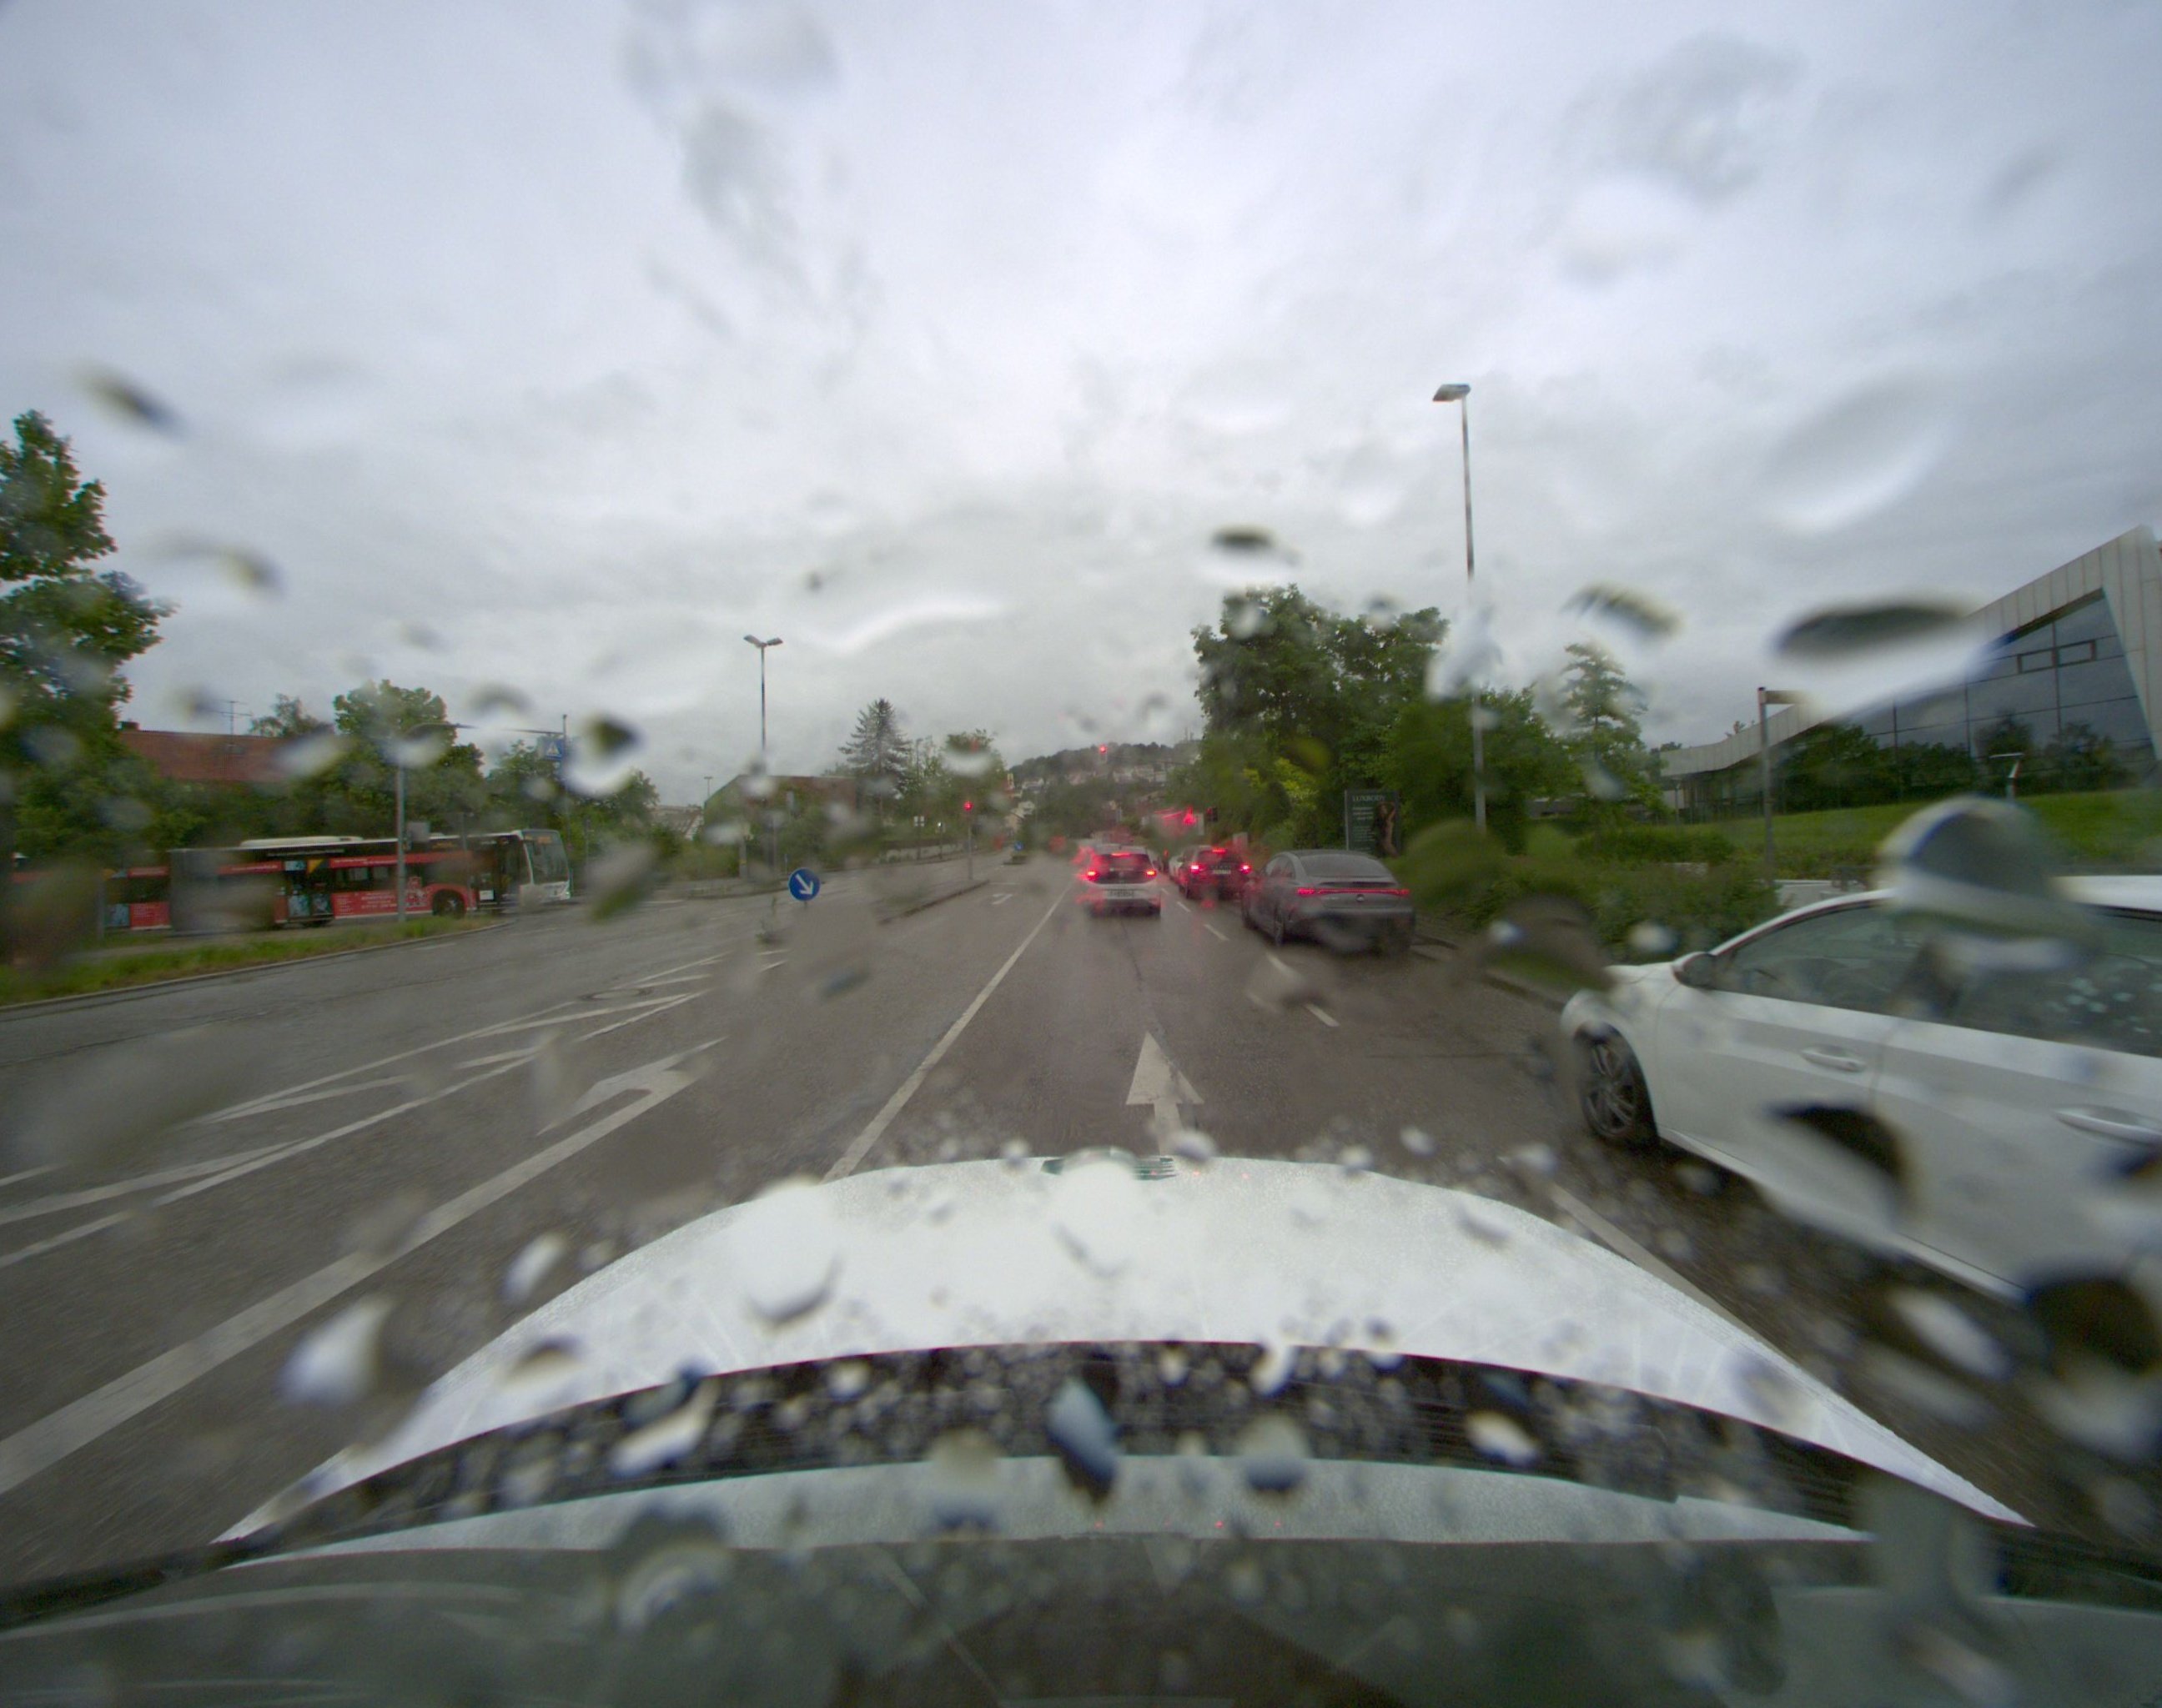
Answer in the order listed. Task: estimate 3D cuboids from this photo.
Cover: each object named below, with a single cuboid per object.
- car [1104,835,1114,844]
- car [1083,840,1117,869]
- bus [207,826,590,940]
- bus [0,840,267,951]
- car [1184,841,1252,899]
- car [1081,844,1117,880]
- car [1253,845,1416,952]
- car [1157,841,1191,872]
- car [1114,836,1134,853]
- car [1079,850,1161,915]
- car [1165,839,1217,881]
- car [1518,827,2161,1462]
[{"bbox_3d":[4.017,-2.055,116.680,1.362,1.157,2.426,-3,-2,0],"label":"car"},{"bbox_3d":[0.899,0.052,37.328,1.379,1.126,2.612,-3,-3,3],"label":"car"},{"bbox_3d":[-23.441,0.991,28.505,10.362,3.281,2.856,-3,-3,-6],"label":"bus"},{"bbox_3d":[-32.589,1.388,26.712,7.841,3.281,2.723,-2,-3,-20],"label":"bus"},{"bbox_3d":[3.930,0.510,23.832,1.640,1.485,3.370,-3,-3,5],"label":"car"},{"bbox_3d":[0.637,0.302,29.105,1.209,1.156,2.270,-3,-3,0],"label":"car"},{"bbox_3d":[3.808,0.596,12.771,1.726,1.388,3.356,0,2,4],"label":"car"},{"bbox_3d":[4.523,0.084,39.839,1.310,1.397,3.080,-3,1,2],"label":"car"},{"bbox_3d":[4.656,-1.058,88.601,1.790,1.569,3.522,-3,-3,-2],"label":"car"},{"bbox_3d":[0.891,0.616,19.237,1.735,1.295,3.336,-1,1,2],"label":"car"},{"bbox_3d":[4.261,0.285,31.966,1.559,1.397,3.958,-3,-3,2],"label":"car"},{"bbox_3d":[3.462,0.716,3.010,1.684,1.519,3.934,0,-1,2],"label":"car"}]
